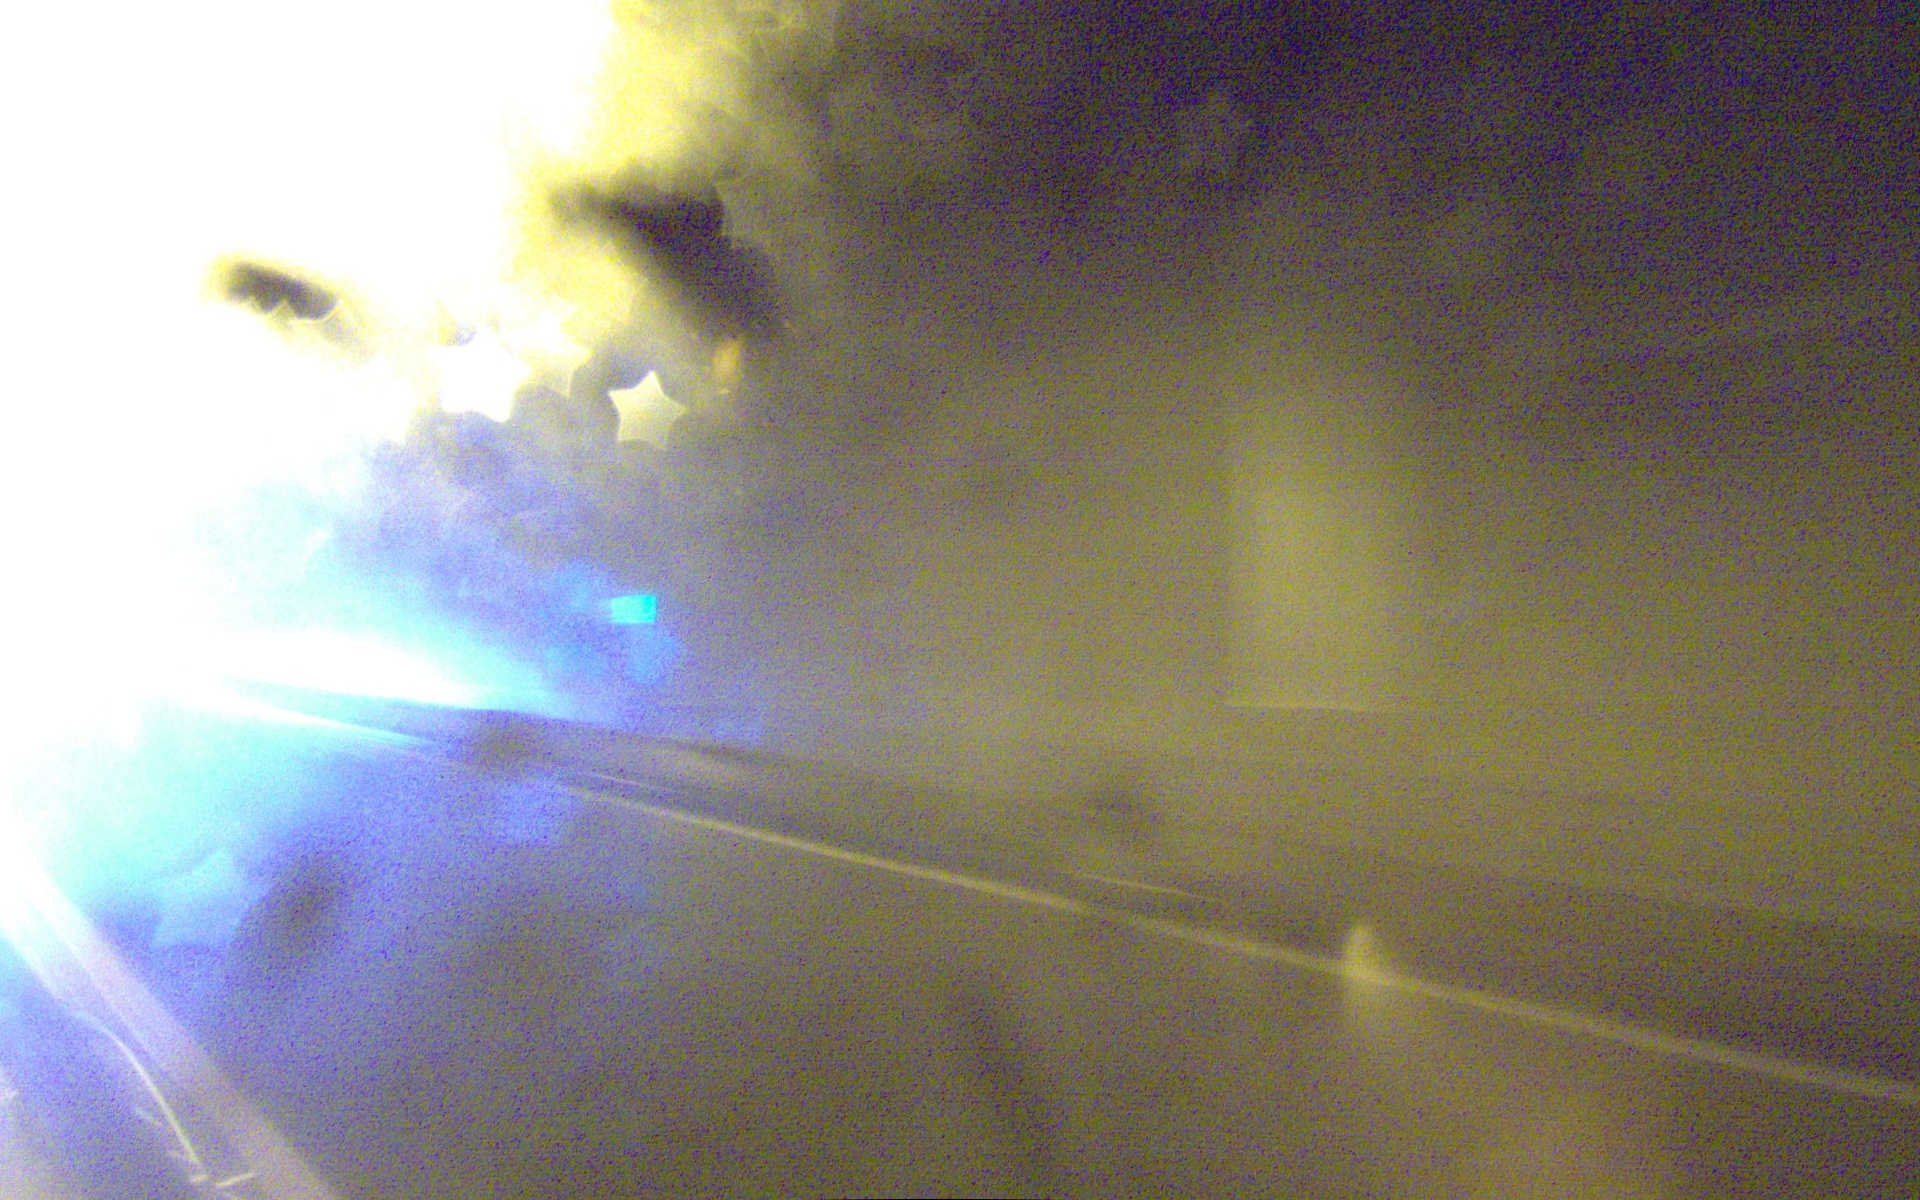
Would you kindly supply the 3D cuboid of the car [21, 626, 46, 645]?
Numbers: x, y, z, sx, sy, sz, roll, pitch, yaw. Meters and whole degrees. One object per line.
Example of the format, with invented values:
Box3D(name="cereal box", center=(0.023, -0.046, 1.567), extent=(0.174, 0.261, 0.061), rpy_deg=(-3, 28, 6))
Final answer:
Box3D(name="car", center=(-85.676, 3.250, 93.573), extent=(1.611, 1.662, 3.779), rpy_deg=(1, -2, -43))
